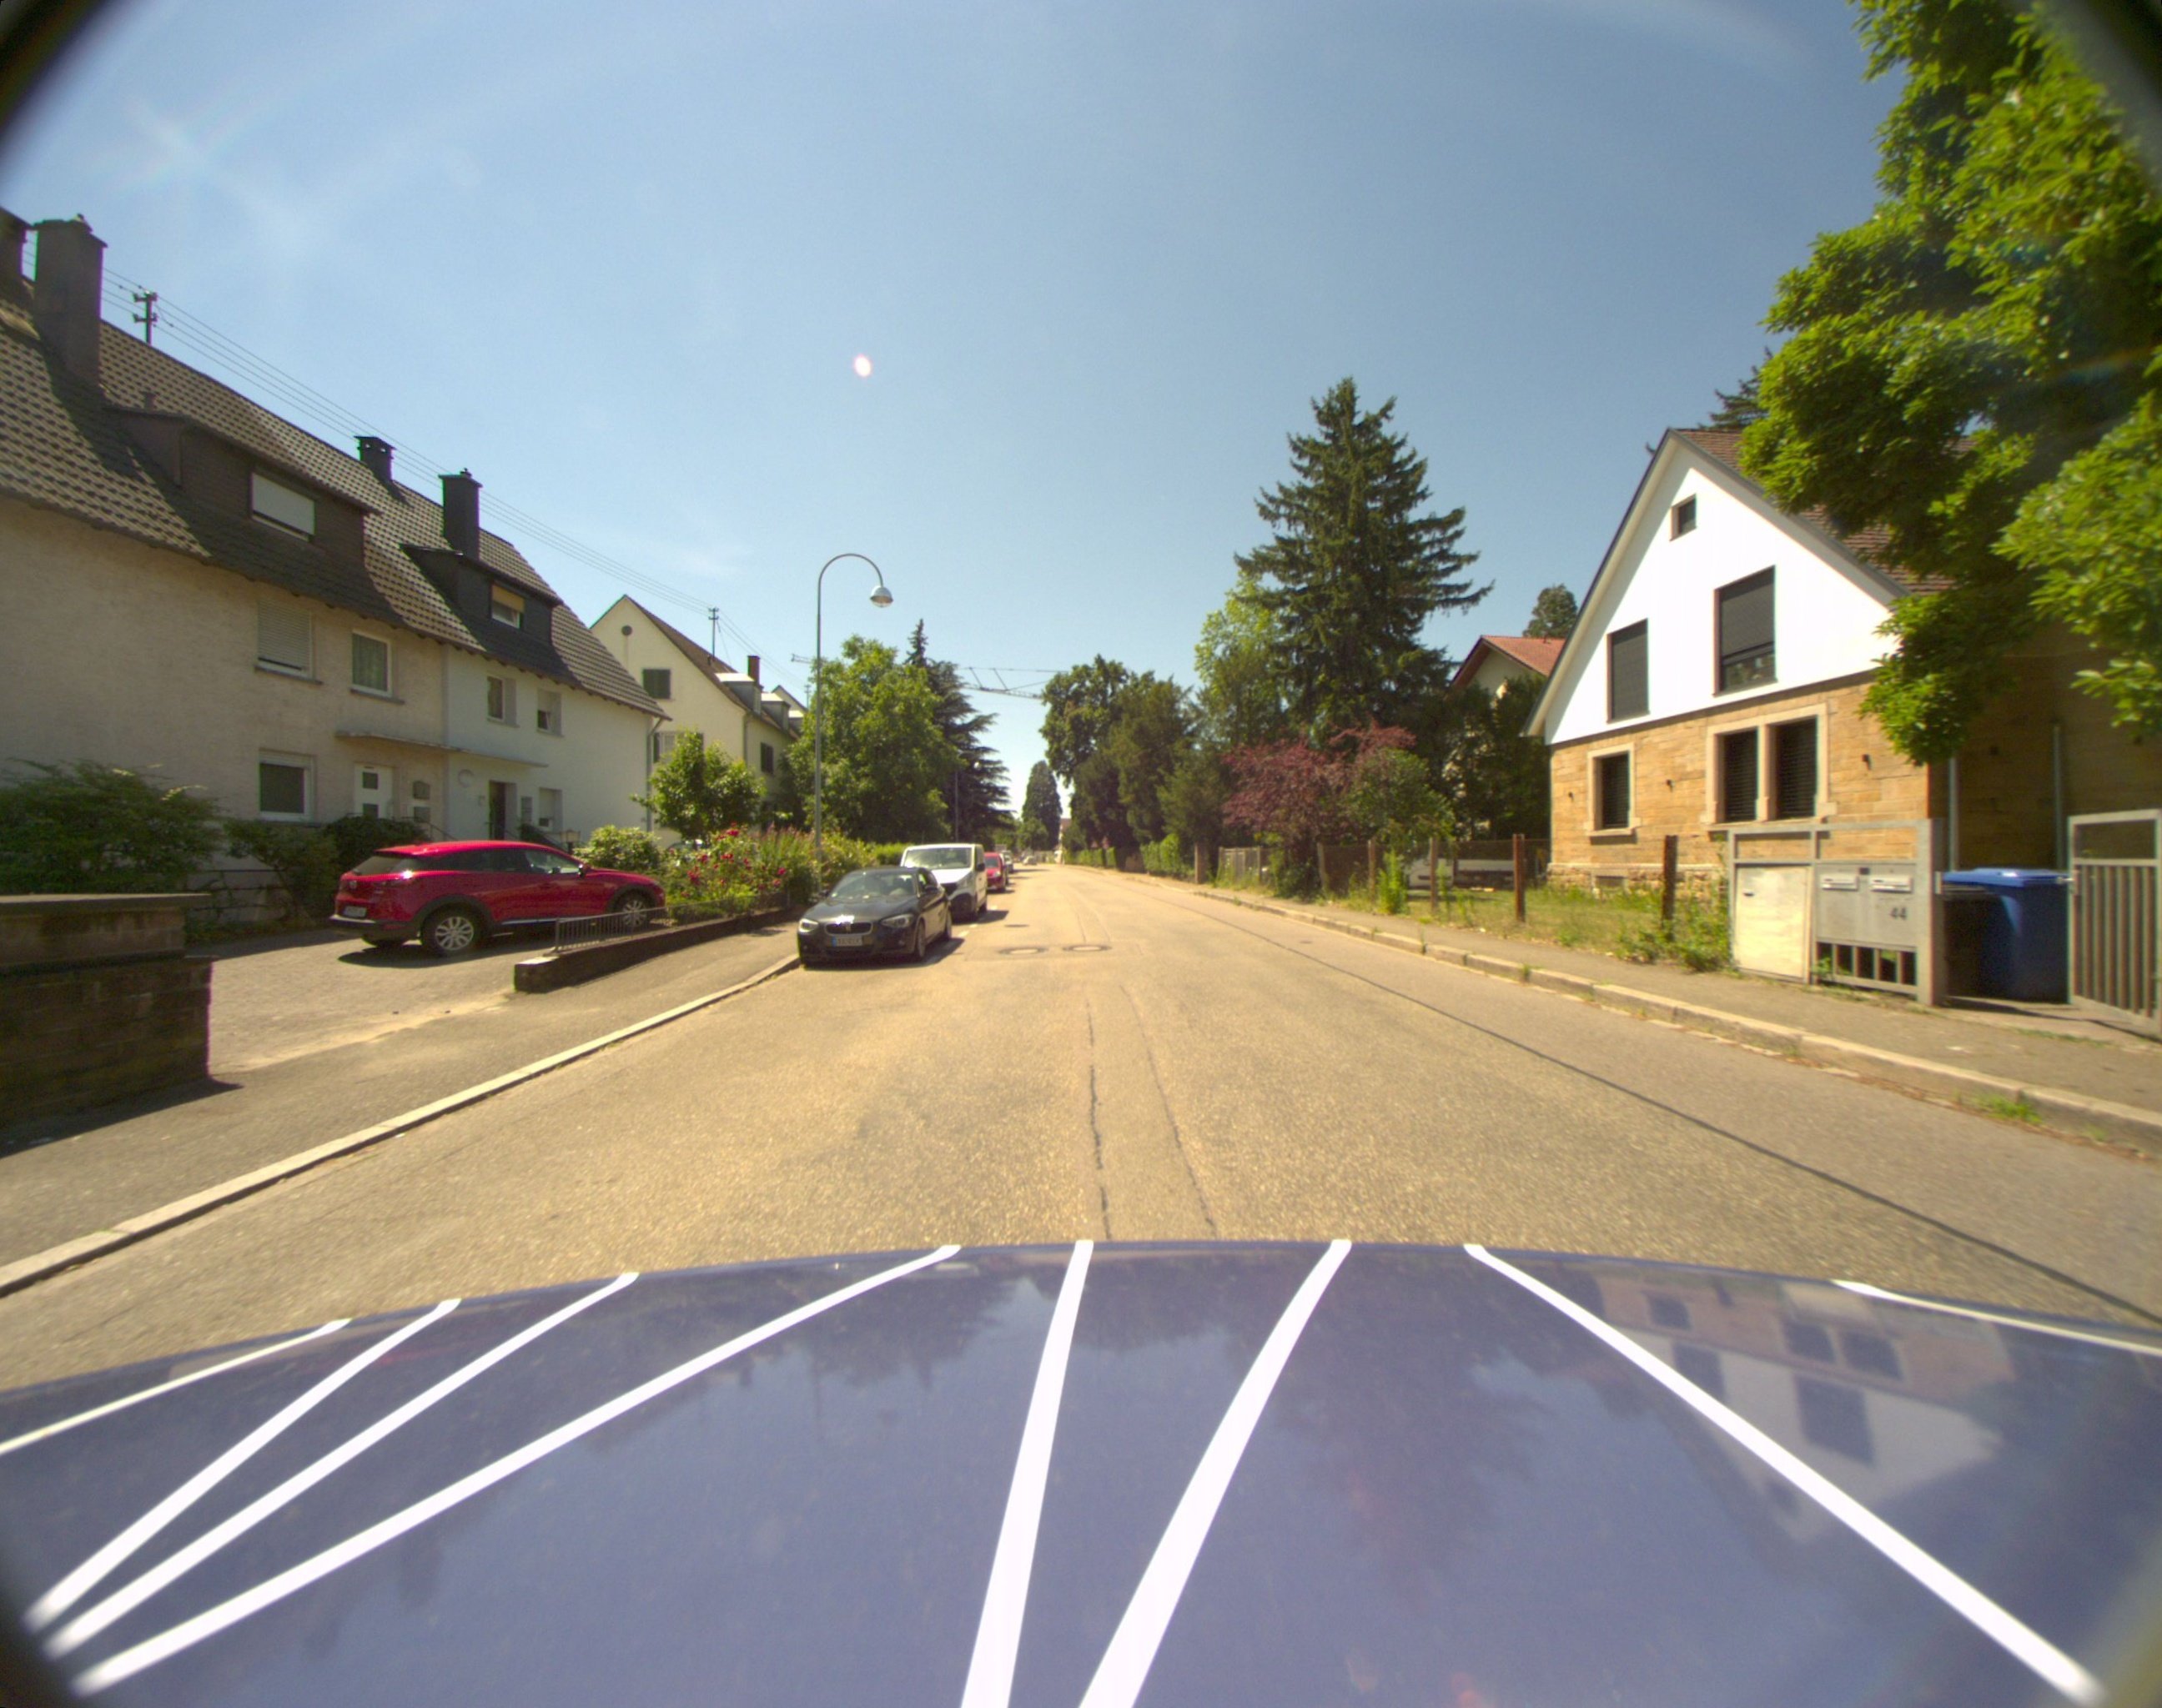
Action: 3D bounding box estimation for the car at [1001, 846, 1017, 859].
[{"bbox_3d":[-14.006,-0.329,147.750,2.001,2.518,5.886,-1,0,-16],"label":"car"}]

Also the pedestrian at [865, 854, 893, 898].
[{"bbox_3d":[-7.063,0.752,26.565,0.790,1.508,0.708,1,1,-3],"label":"pedestrian"}]

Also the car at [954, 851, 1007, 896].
[{"bbox_3d":[-4.299,0.778,33.251,1.908,1.718,4.389,-3,1,-3],"label":"car"}]

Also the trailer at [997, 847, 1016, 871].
[{"bbox_3d":[-7.167,0.462,73.345,1.685,2.056,3.705,-3,2,-6],"label":"trailer"}]

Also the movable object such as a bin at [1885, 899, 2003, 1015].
[{"bbox_3d":[7.257,0.852,6.403,0.468,0.904,0.459,-2,1,-2],"label":"movable object such as a bin"}]

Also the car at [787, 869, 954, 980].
[{"bbox_3d":[-3.203,1.008,12.390,1.660,1.390,3.999,-1,0,-1],"label":"car"}]

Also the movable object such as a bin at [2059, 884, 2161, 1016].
[{"bbox_3d":[8.553,0.760,6.208,0.468,1.003,0.506,-2,1,-2],"label":"movable object such as a bin"}]

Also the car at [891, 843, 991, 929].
[{"bbox_3d":[-3.480,0.738,19.759,1.908,1.913,4.717,-2,0,-3],"label":"car"}]

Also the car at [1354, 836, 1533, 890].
[{"bbox_3d":[15.573,0.389,32.840,6.682,2.159,2.401,1,0,-7],"label":"car"}]

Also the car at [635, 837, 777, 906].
[{"bbox_3d":[-11.243,0.507,23.168,1.748,1.845,4.402,2,-1,5],"label":"car"}]

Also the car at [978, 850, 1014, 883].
[{"bbox_3d":[-4.843,0.674,43.784,1.751,1.772,4.541,-3,0,-4],"label":"car"}]

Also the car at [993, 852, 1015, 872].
[{"bbox_3d":[-6.850,0.704,67.613,1.777,1.622,4.602,-3,0,-6],"label":"car"}]

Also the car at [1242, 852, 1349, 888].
[{"bbox_3d":[9.032,0.676,32.299,3.997,1.416,1.969,1,0,1],"label":"car"}]

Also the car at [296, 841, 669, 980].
[{"bbox_3d":[-8.701,0.662,11.536,1.740,1.526,4.056,2,4,24],"label":"car"}]

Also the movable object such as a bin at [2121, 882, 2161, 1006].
[{"bbox_3d":[9.086,0.741,6.214,0.468,1.003,0.506,-2,1,-2],"label":"movable object such as a bin"}]

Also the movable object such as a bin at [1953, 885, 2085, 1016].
[{"bbox_3d":[7.767,0.780,6.306,0.468,1.003,0.506,-2,1,-2],"label":"movable object such as a bin"}]

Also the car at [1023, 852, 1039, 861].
[{"bbox_3d":[-8.068,0.366,122.818,1.871,1.375,4.599,0,0,-13],"label":"car"}]
